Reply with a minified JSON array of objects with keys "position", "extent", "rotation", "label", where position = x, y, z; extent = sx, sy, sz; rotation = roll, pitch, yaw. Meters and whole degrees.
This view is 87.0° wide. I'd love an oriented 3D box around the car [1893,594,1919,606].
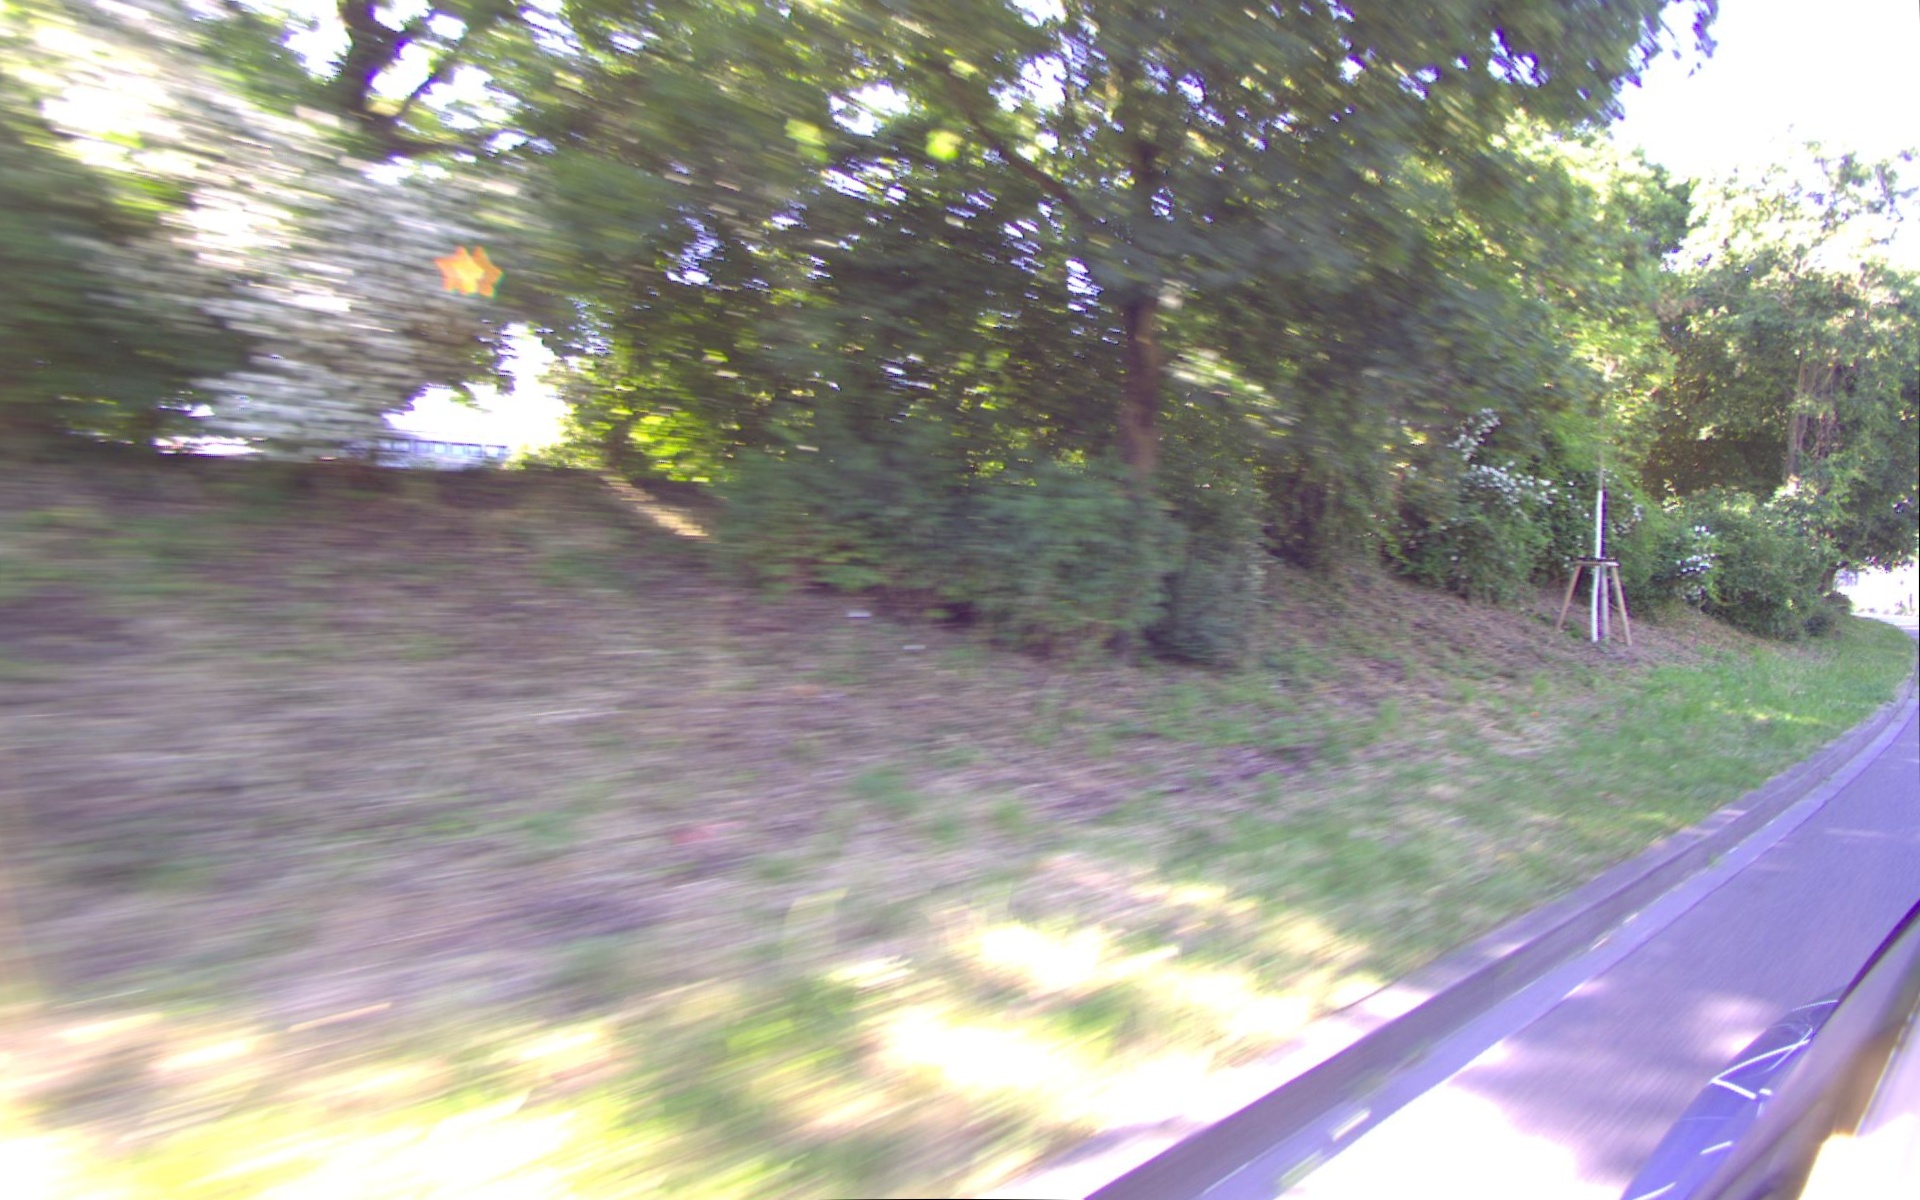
[{"position":[149.506,-0.022,159.889],"extent":[1.806,1.662,4.449],"rotation":[1,-2,25],"label":"car"}]
